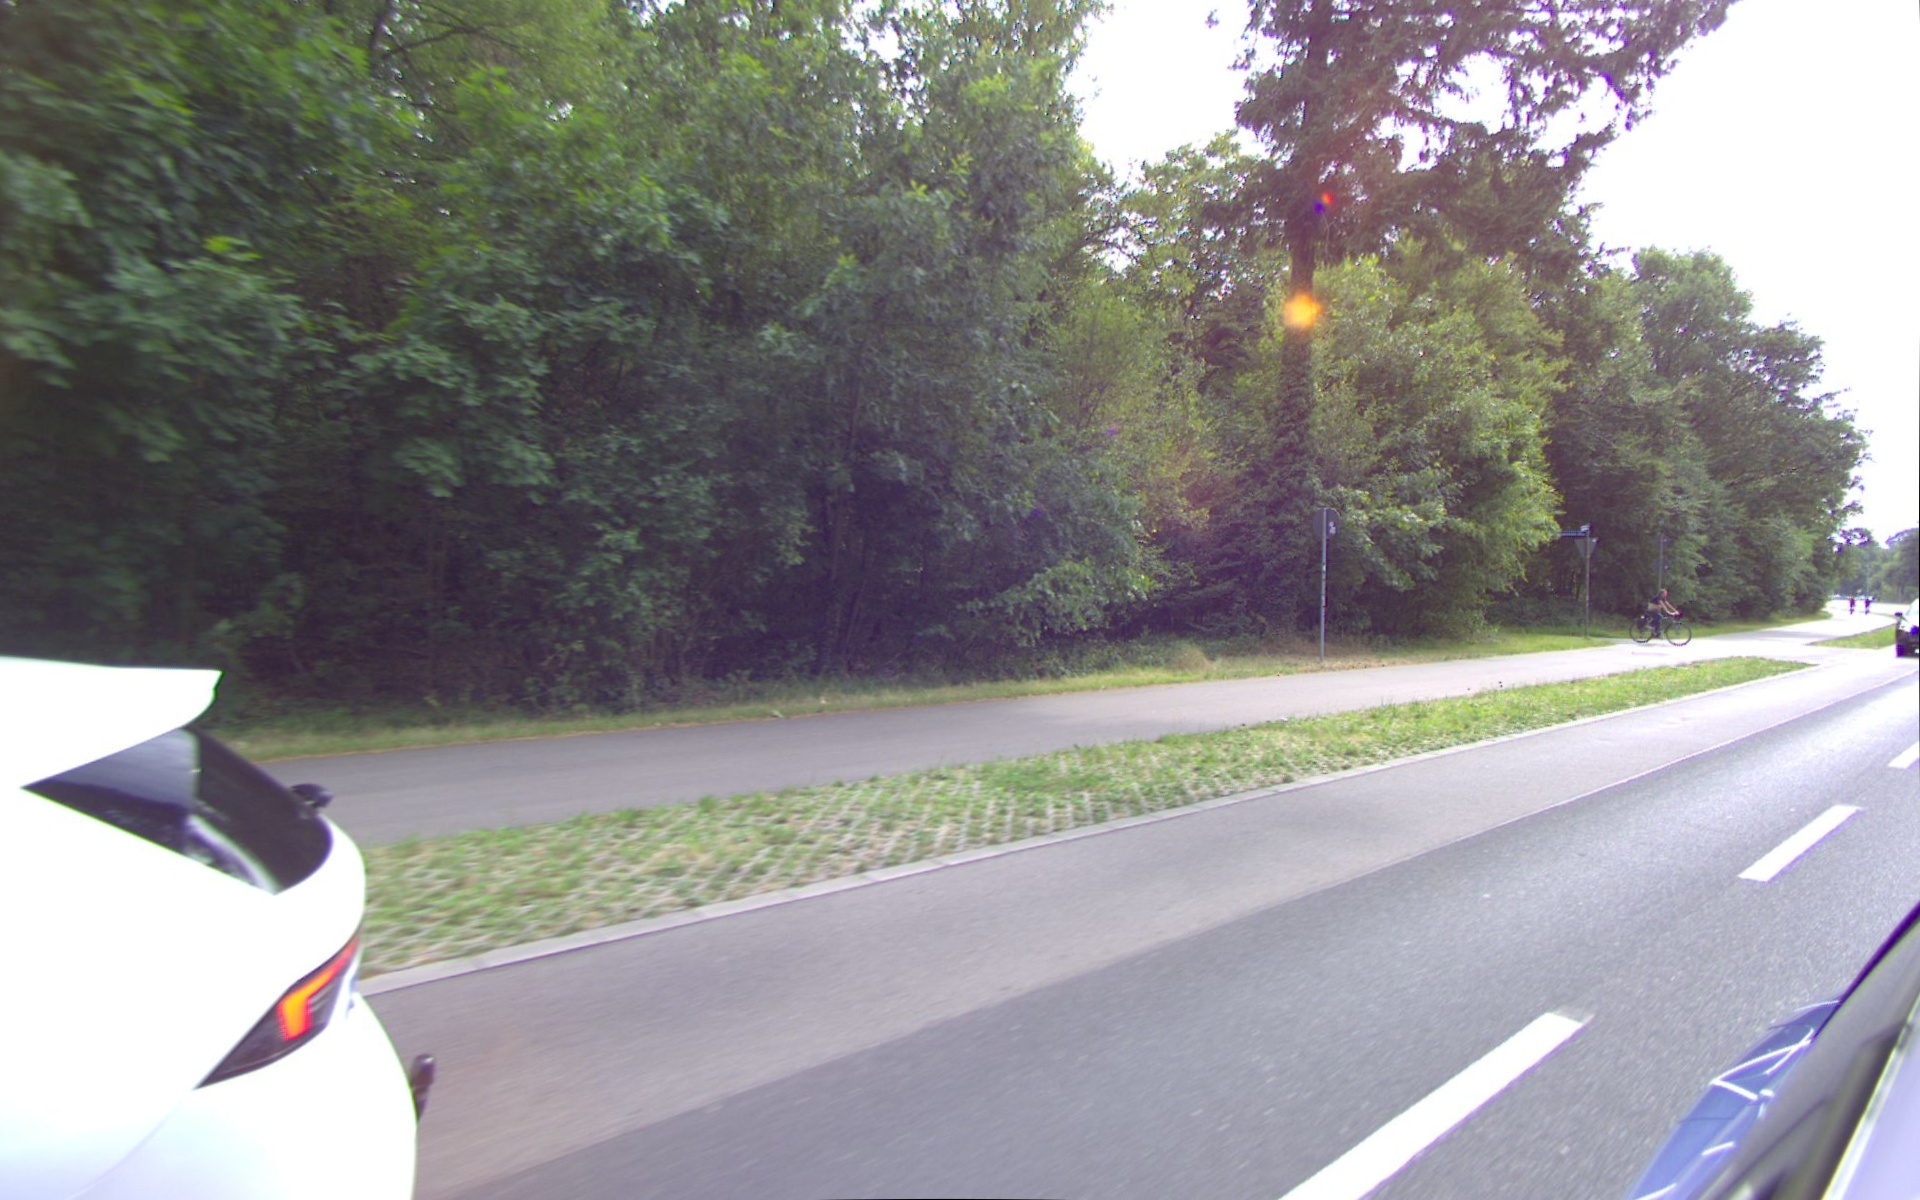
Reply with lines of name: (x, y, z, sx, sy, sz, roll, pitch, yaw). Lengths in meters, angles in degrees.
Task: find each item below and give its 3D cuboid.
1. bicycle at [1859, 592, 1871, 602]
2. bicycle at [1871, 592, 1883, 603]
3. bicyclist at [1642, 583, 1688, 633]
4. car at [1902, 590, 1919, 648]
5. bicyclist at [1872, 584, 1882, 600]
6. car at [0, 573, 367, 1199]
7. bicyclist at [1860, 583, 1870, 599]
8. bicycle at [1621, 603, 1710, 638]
bicycle: (81.745, -0.269, 91.377, 0.564, 0.923, 1.862, 5, 2, 36)
bicycle: (82.370, -0.254, 90.889, 0.564, 0.923, 1.732, 4, 3, 36)
bicyclist: (21.775, 0.233, 31.260, 0.696, 1.489, 0.903, 0, 1, -25)
car: (28.590, 0.503, 29.063, 3.933, 1.594, 1.995, -1, 0, -43)
bicyclist: (82.375, -0.737, 90.917, 0.518, 1.433, 1.171, 1, 1, 36)
car: (-3.142, 0.659, 0.731, 4.412, 1.427, 1.840, 1, 1, -41)
bicyclist: (81.791, -0.780, 91.455, 0.518, 1.433, 1.171, -1, 0, 36)
bicycle: (21.757, 0.616, 31.259, 0.696, 1.006, 2.185, 0, 1, -25)
